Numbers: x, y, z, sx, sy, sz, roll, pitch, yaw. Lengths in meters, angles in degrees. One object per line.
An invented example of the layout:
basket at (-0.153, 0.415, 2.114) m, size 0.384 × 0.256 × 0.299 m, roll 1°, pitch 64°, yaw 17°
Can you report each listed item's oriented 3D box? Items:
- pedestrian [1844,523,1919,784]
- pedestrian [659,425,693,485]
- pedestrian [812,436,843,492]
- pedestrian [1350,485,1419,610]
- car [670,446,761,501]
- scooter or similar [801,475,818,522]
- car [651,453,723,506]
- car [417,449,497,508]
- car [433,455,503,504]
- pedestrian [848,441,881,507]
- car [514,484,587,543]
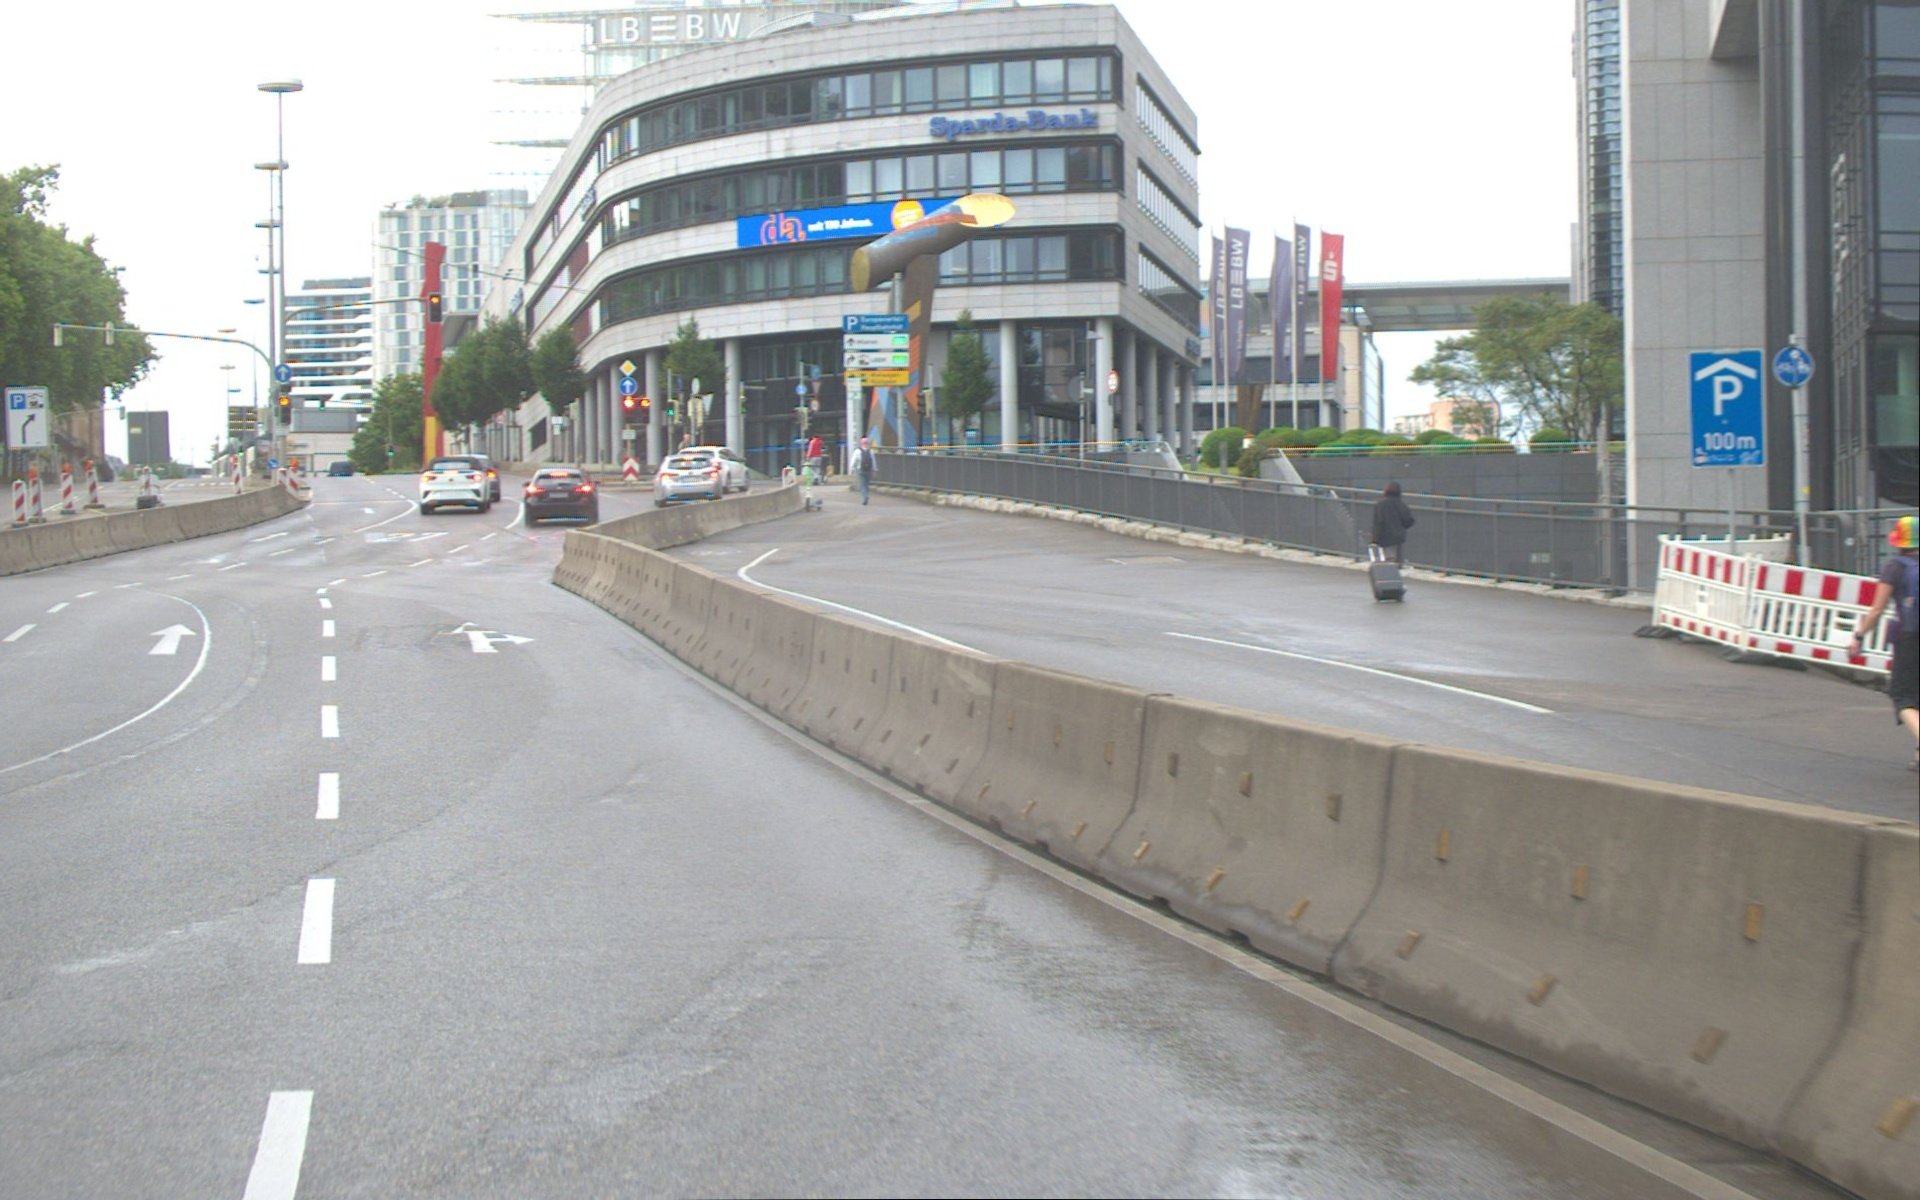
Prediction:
pedestrian at (5.862, 0.319, 21.186) m, size 0.732 × 1.569 × 0.804 m, roll 1°, pitch 1°, yaw 17°
pedestrian at (-10.112, -5.173, 122.429) m, size 0.852 × 2.091 × 0.904 m, roll 0°, pitch 2°, yaw -33°
pedestrian at (-4.574, -4.712, 119.050) m, size 0.841 × 1.898 × 0.860 m, roll 0°, pitch 0°, yaw 16°
pedestrian at (5.666, -0.708, 45.857) m, size 0.730 × 1.646 × 1.060 m, roll 0°, pitch 1°, yaw 17°
car at (-7.555, -3.935, 106.691) m, size 1.772 × 1.628 × 4.580 m, roll 0°, pitch 3°, yaw 10°
scooter or similar at (-3.693, -2.493, 84.501) m, size 0.349 × 1.158 × 0.573 m, roll 0°, pitch 1°, yaw 5°
car at (-7.631, -3.337, 95.864) m, size 1.700 × 1.446 × 4.617 m, roll 0°, pitch 2°, yaw -8°
car at (-13.795, -3.356, 94.530) m, size 1.963 × 1.543 × 4.220 m, roll -1°, pitch 3°, yaw -6°
car at (-14.805, -3.649, 103.356) m, size 1.739 × 1.438 × 4.002 m, roll -1°, pitch 3°, yaw -13°
pedestrian at (-2.511, -3.317, 90.679) m, size 0.729 × 1.705 × 0.843 m, roll -1°, pitch 0°, yaw -11°
car at (-10.312, -2.169, 86.340) m, size 1.754 × 1.402 × 4.229 m, roll 1°, pitch 1°, yaw -7°
